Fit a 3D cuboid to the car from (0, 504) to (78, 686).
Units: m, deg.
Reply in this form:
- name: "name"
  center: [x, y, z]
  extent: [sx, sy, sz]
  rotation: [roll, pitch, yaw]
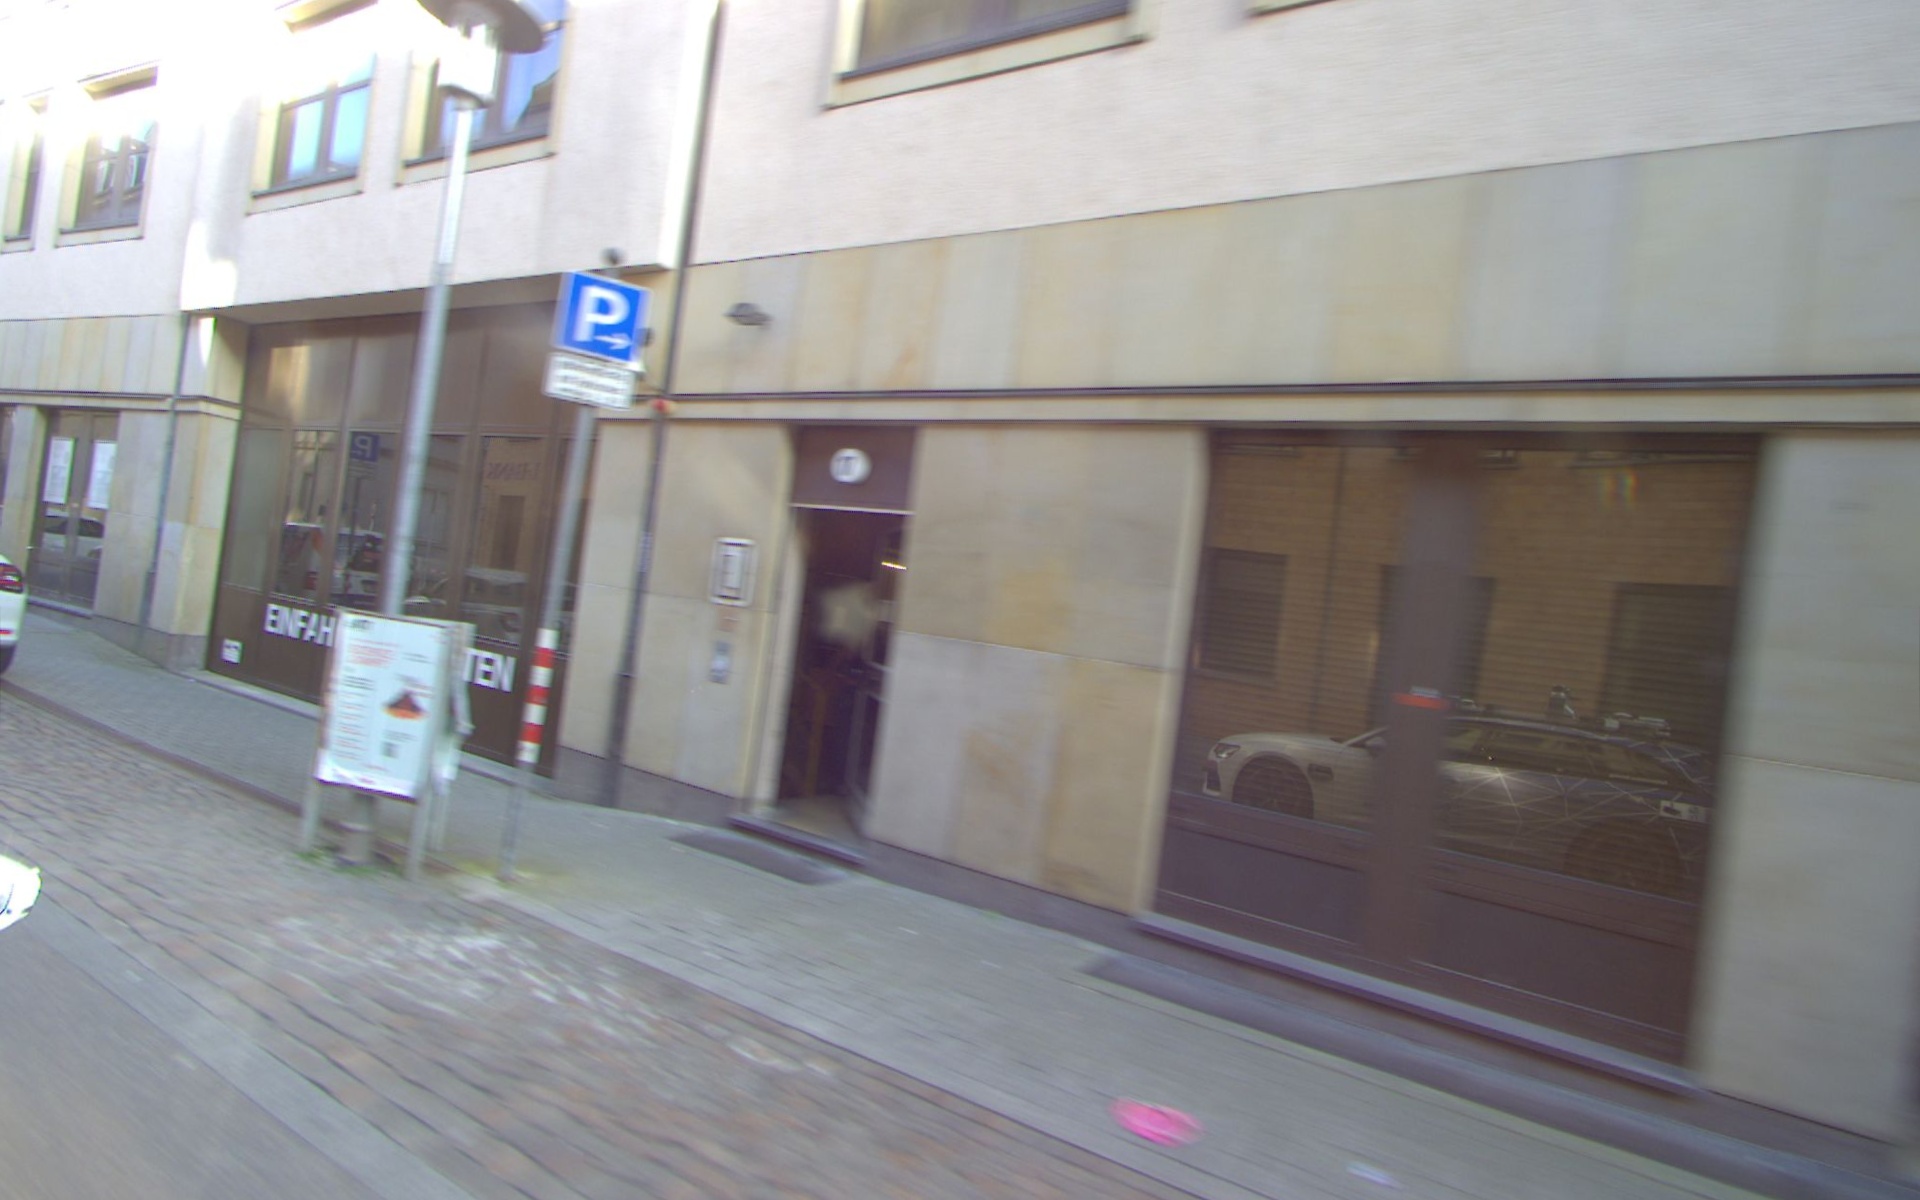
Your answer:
- name: "car"
  center: [-10.065, -0.336, 8.983]
  extent: [4.096, 1.494, 1.847]
  rotation: [7, -3, 29]
